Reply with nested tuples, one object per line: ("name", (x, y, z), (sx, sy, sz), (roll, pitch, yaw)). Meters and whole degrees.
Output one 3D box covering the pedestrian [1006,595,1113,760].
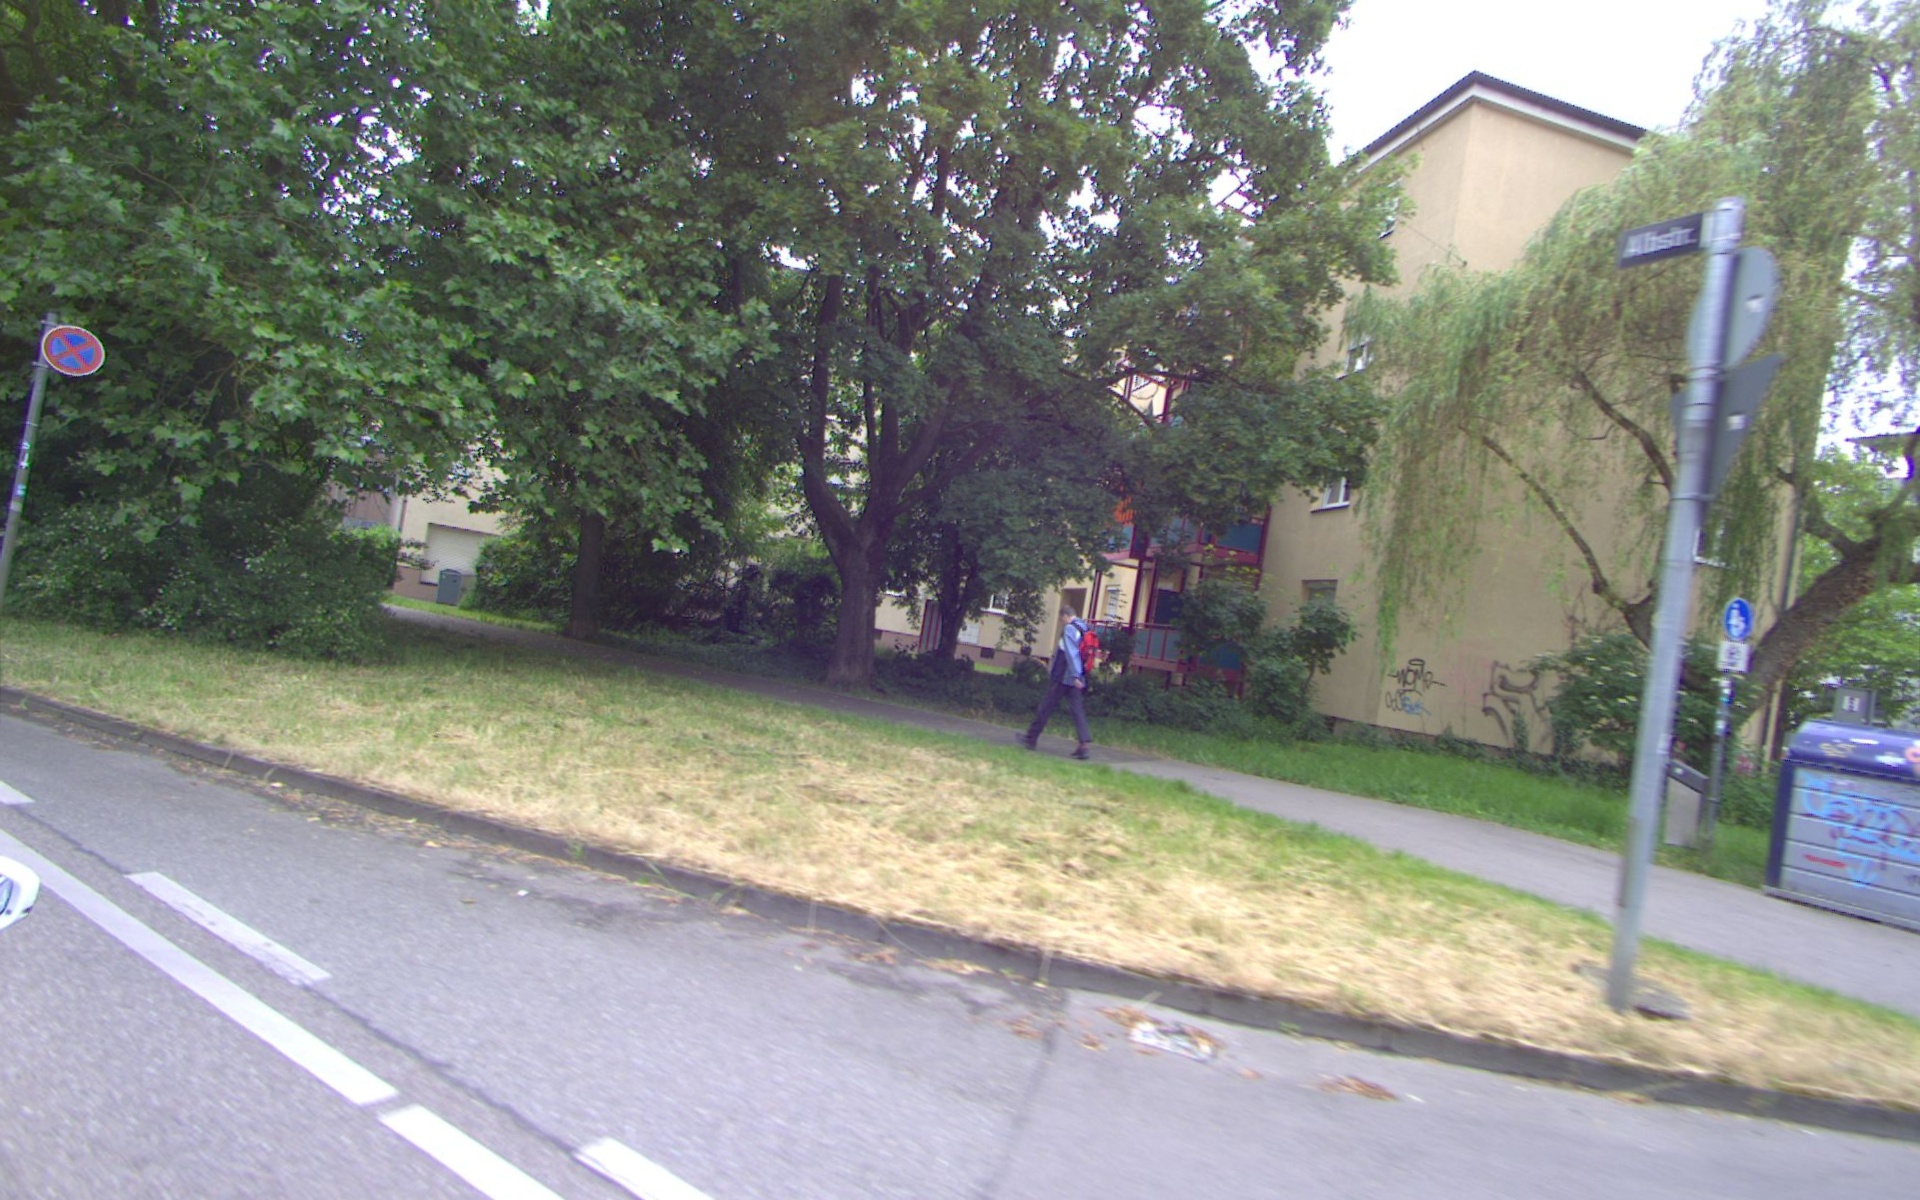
("pedestrian", (1.207, 0.927, 12.147), (0.879, 1.816, 0.759), (7, -1, 23))
